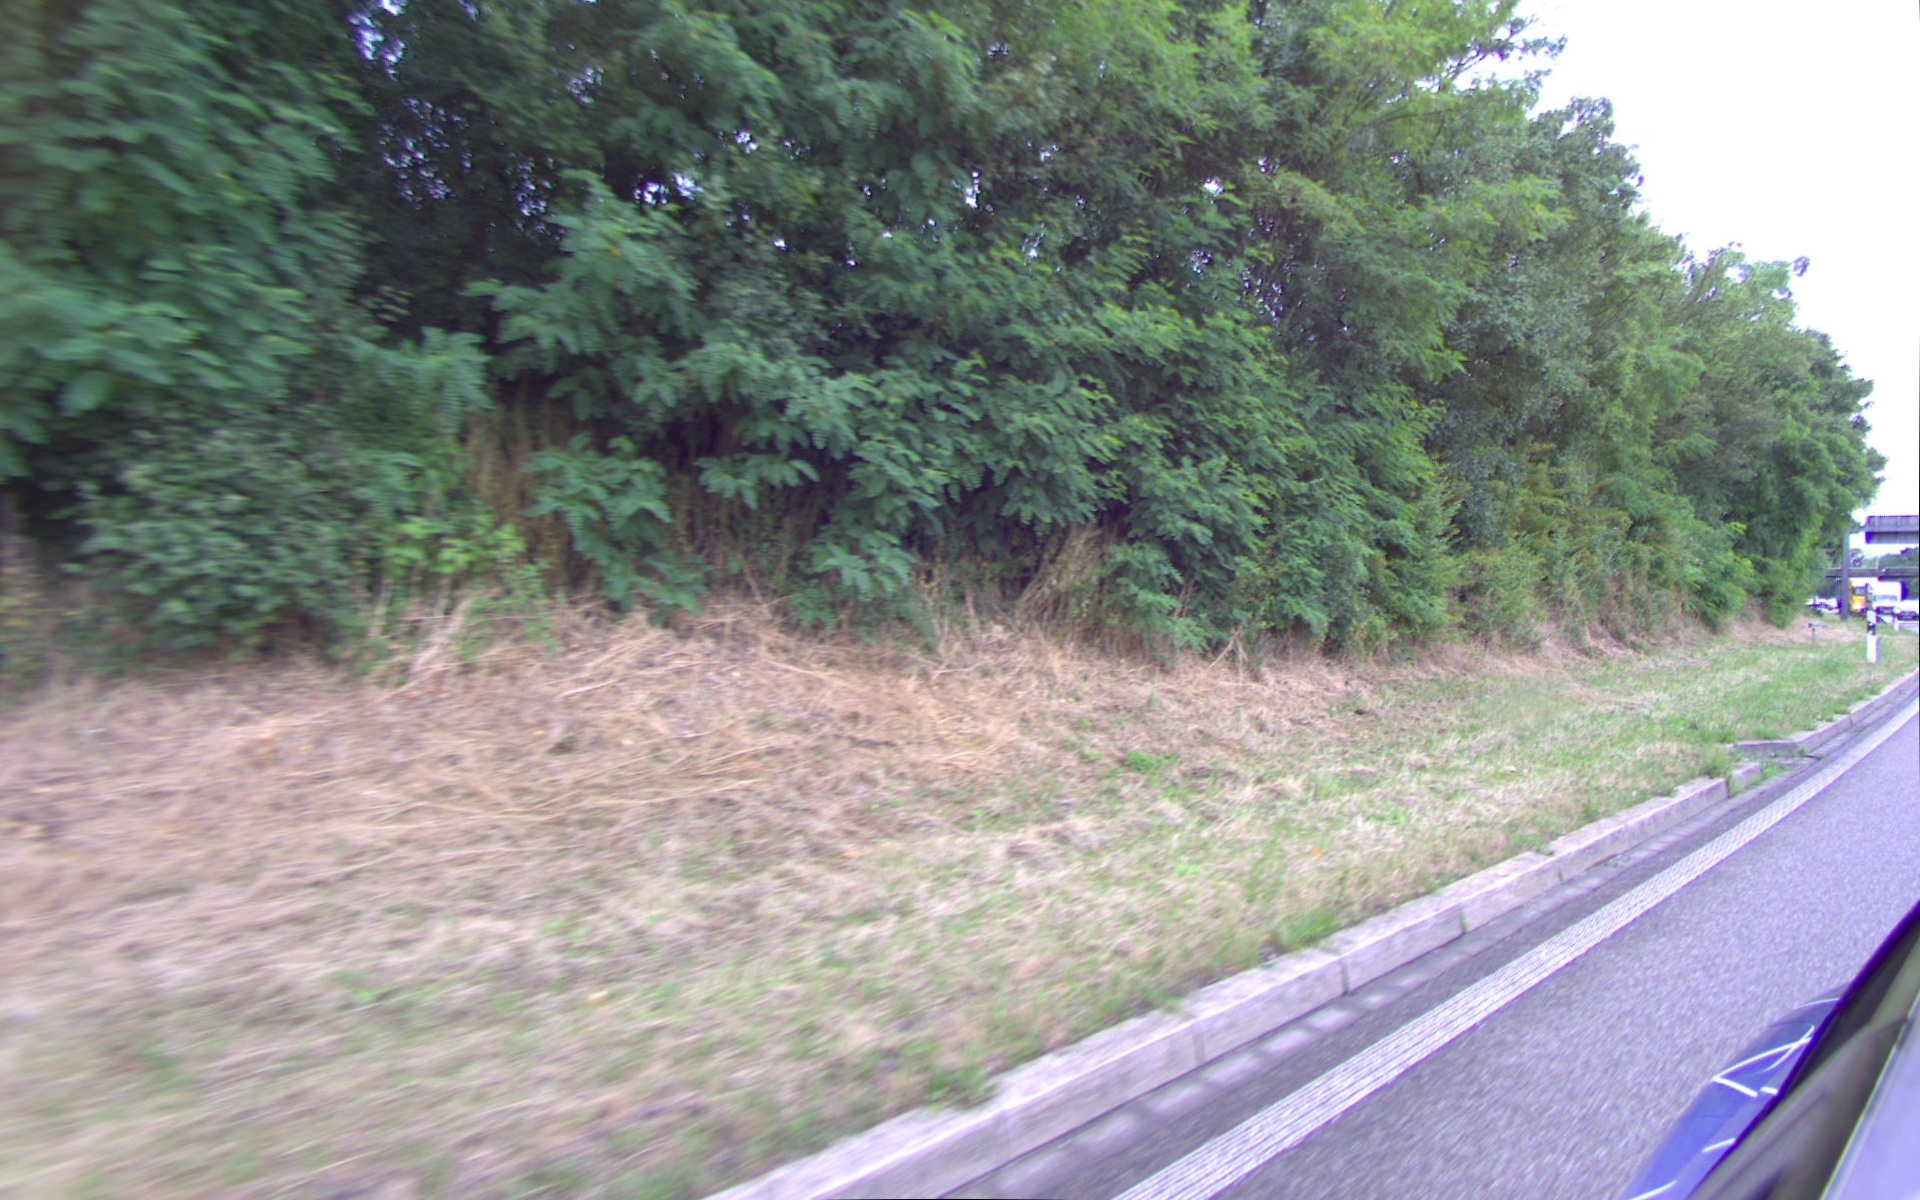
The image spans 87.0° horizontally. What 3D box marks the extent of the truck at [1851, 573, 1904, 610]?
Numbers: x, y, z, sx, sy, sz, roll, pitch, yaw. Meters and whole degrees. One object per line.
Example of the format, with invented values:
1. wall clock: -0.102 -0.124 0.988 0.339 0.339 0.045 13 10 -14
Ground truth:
1. truck: 107.121 -1.032 118.283 3.346 4.116 10.054 -1 0 36

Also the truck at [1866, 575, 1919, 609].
1. truck: 88.739 -0.778 95.916 3.346 3.156 7.149 0 0 35
